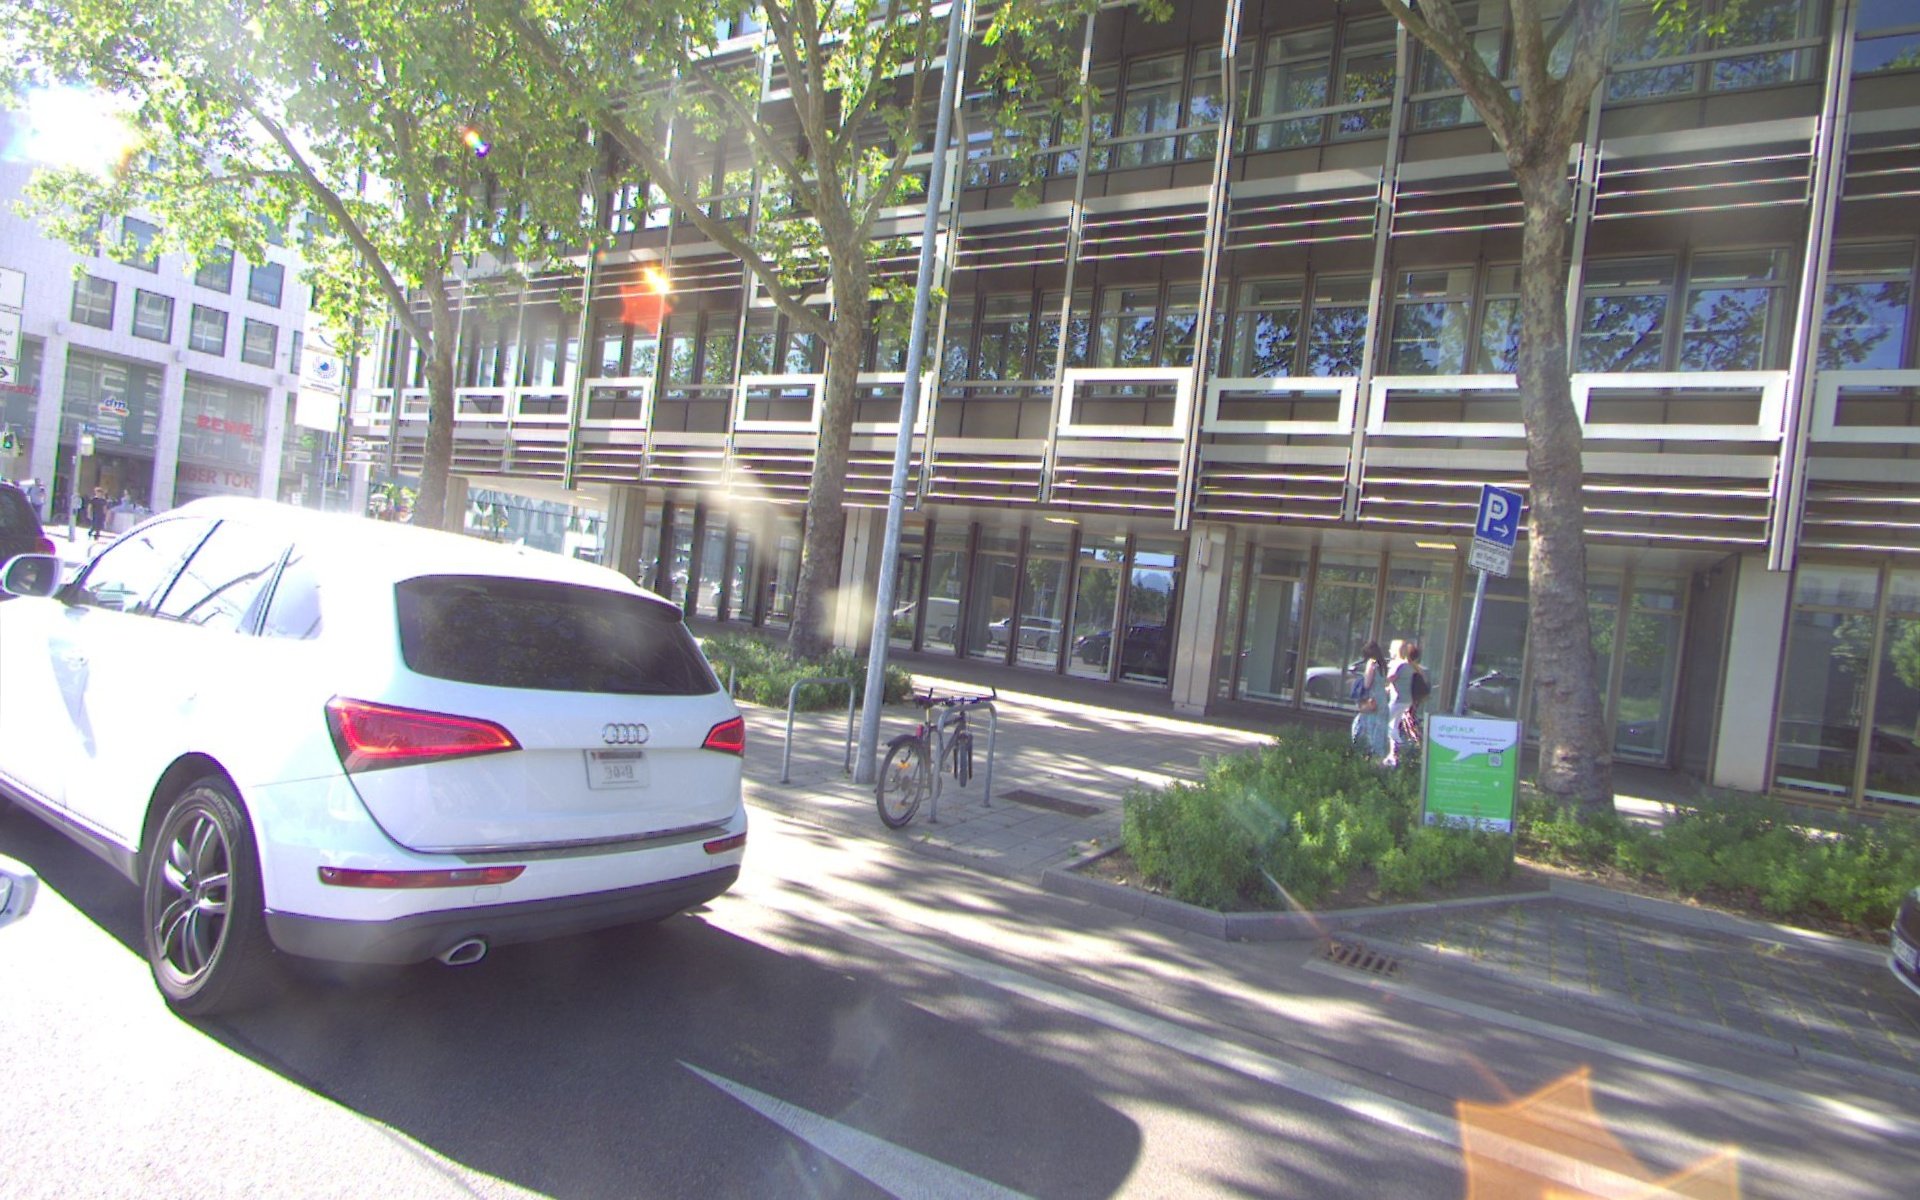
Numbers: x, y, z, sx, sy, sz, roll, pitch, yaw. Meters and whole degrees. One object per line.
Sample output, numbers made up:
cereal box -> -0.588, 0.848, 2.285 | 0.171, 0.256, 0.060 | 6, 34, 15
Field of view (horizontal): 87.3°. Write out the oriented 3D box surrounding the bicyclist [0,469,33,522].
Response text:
bicyclist -> -29.059, -3.215, 30.665 | 0.869, 1.495, 0.882 | 7, 1, 31

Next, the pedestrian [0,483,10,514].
pedestrian -> -52.027, -5.525, 54.365 | 0.547, 1.628, 0.748 | 8, 2, 30

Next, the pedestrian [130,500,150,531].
pedestrian -> -50.553, -5.197, 62.032 | 0.639, 1.785, 0.556 | 7, 1, -5

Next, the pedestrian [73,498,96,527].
pedestrian -> -52.065, -5.196, 59.830 | 0.737, 1.628, 0.556 | 7, 1, -6

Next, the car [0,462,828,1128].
car -> -2.934, 0.398, 4.520 | 4.339, 1.633, 1.822 | 7, 0, 32

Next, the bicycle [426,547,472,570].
bicycle -> -33.359, -2.727, 65.636 | 3.441, 1.107, 1.067 | 7, 0, 34

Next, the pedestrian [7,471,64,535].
pedestrian -> -32.734, -3.425, 35.617 | 1.059, 2.038, 0.949 | 7, 0, 20

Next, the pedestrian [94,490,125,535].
pedestrian -> -32.938, -3.391, 38.962 | 0.517, 1.634, 0.661 | 7, 2, 22

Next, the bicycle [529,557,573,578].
bicycle -> -29.249, -2.316, 71.956 | 3.441, 1.107, 1.067 | 7, 0, 34

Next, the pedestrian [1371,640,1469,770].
pedestrian -> 6.364, 1.425, 13.914 | 0.992, 1.622, 0.666 | 7, 3, 32

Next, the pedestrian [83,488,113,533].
pedestrian -> -33.537, -3.477, 39.158 | 0.517, 1.634, 0.661 | 7, 2, 22

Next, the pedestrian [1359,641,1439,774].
pedestrian -> 5.816, 1.394, 13.314 | 0.716, 1.622, 0.666 | 7, 3, 32

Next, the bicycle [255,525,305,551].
bicycle -> -38.662, -3.510, 57.156 | 3.441, 1.107, 1.067 | 7, 0, 34

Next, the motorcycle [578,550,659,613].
motorcycle -> -9.315, -0.502, 27.393 | 2.087, 1.459, 0.824 | 7, 1, 32

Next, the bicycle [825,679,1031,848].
bicycle -> -0.177, 1.168, 7.698 | 0.699, 0.973, 1.846 | 7, 2, 26

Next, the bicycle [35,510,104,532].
bicycle -> -41.711, -3.683, 47.135 | 1.055, 0.679, 2.194 | 7, 0, 35

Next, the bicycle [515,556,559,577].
bicycle -> -29.864, -2.358, 70.955 | 3.441, 1.107, 1.067 | 7, 0, 34

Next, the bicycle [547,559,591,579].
bicycle -> -28.285, -2.238, 72.714 | 3.441, 1.107, 1.067 | 7, 0, 34

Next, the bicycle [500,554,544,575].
bicycle -> -30.444, -2.463, 69.868 | 3.441, 1.107, 1.067 | 7, 0, 34

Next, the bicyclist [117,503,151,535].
bicyclist -> -40.486, -3.982, 49.319 | 1.059, 1.413, 0.933 | 7, 1, 35

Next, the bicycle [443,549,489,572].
bicycle -> -32.710, -2.611, 66.616 | 3.441, 1.107, 1.067 | 7, 0, 34

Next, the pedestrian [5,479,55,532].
pedestrian -> -35.712, -3.629, 38.624 | 1.497, 1.825, 0.967 | 7, 2, 31

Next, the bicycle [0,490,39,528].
bicycle -> -29.016, -2.829, 30.610 | 2.017, 0.997, 0.882 | 7, 0, 31

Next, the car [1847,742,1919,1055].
car -> 7.186, 1.841, 4.455 | 4.483, 1.509, 1.749 | 7, 1, 31

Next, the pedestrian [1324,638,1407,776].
pedestrian -> 5.176, 1.335, 12.834 | 0.716, 1.622, 0.666 | 7, 3, 32

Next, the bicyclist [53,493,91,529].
bicyclist -> -41.644, -4.153, 47.166 | 1.055, 1.494, 1.022 | 7, 1, 35

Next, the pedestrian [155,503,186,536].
pedestrian -> -44.682, -4.568, 56.936 | 0.846, 1.705, 0.978 | 7, 1, 29

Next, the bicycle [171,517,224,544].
bicycle -> -40.935, -3.742, 53.982 | 3.440, 1.107, 1.067 | 7, 0, 33

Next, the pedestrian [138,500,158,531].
pedestrian -> -50.634, -5.247, 62.720 | 0.639, 1.785, 0.556 | 7, 1, -5

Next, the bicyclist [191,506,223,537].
bicyclist -> -38.821, -4.050, 51.846 | 1.024, 1.451, 0.933 | 7, 1, 35

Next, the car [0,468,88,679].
car -> -9.884, -0.473, 9.050 | 4.339, 1.720, 1.787 | 7, 0, 32

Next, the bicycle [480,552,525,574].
bicycle -> -31.308, -2.521, 68.805 | 3.441, 1.107, 1.067 | 7, 0, 34

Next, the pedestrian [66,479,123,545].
pedestrian -> -29.223, -2.969, 33.980 | 1.060, 2.038, 0.949 | 7, 1, 24

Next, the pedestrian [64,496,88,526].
pedestrian -> -51.992, -5.213, 59.173 | 0.737, 1.628, 0.556 | 7, 1, -5

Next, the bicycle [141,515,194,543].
bicycle -> -41.708, -3.742, 52.943 | 3.440, 1.107, 1.067 | 7, 0, 33

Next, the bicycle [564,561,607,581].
bicycle -> -27.650, -2.155, 74.228 | 3.441, 1.107, 1.067 | 7, 0, 34

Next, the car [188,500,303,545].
car -> -35.385, -3.808, 49.903 | 1.831, 1.632, 4.189 | 5, -1, 33

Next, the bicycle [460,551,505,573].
bicycle -> -32.075, -2.580, 67.589 | 3.441, 1.107, 1.067 | 7, 0, 34
